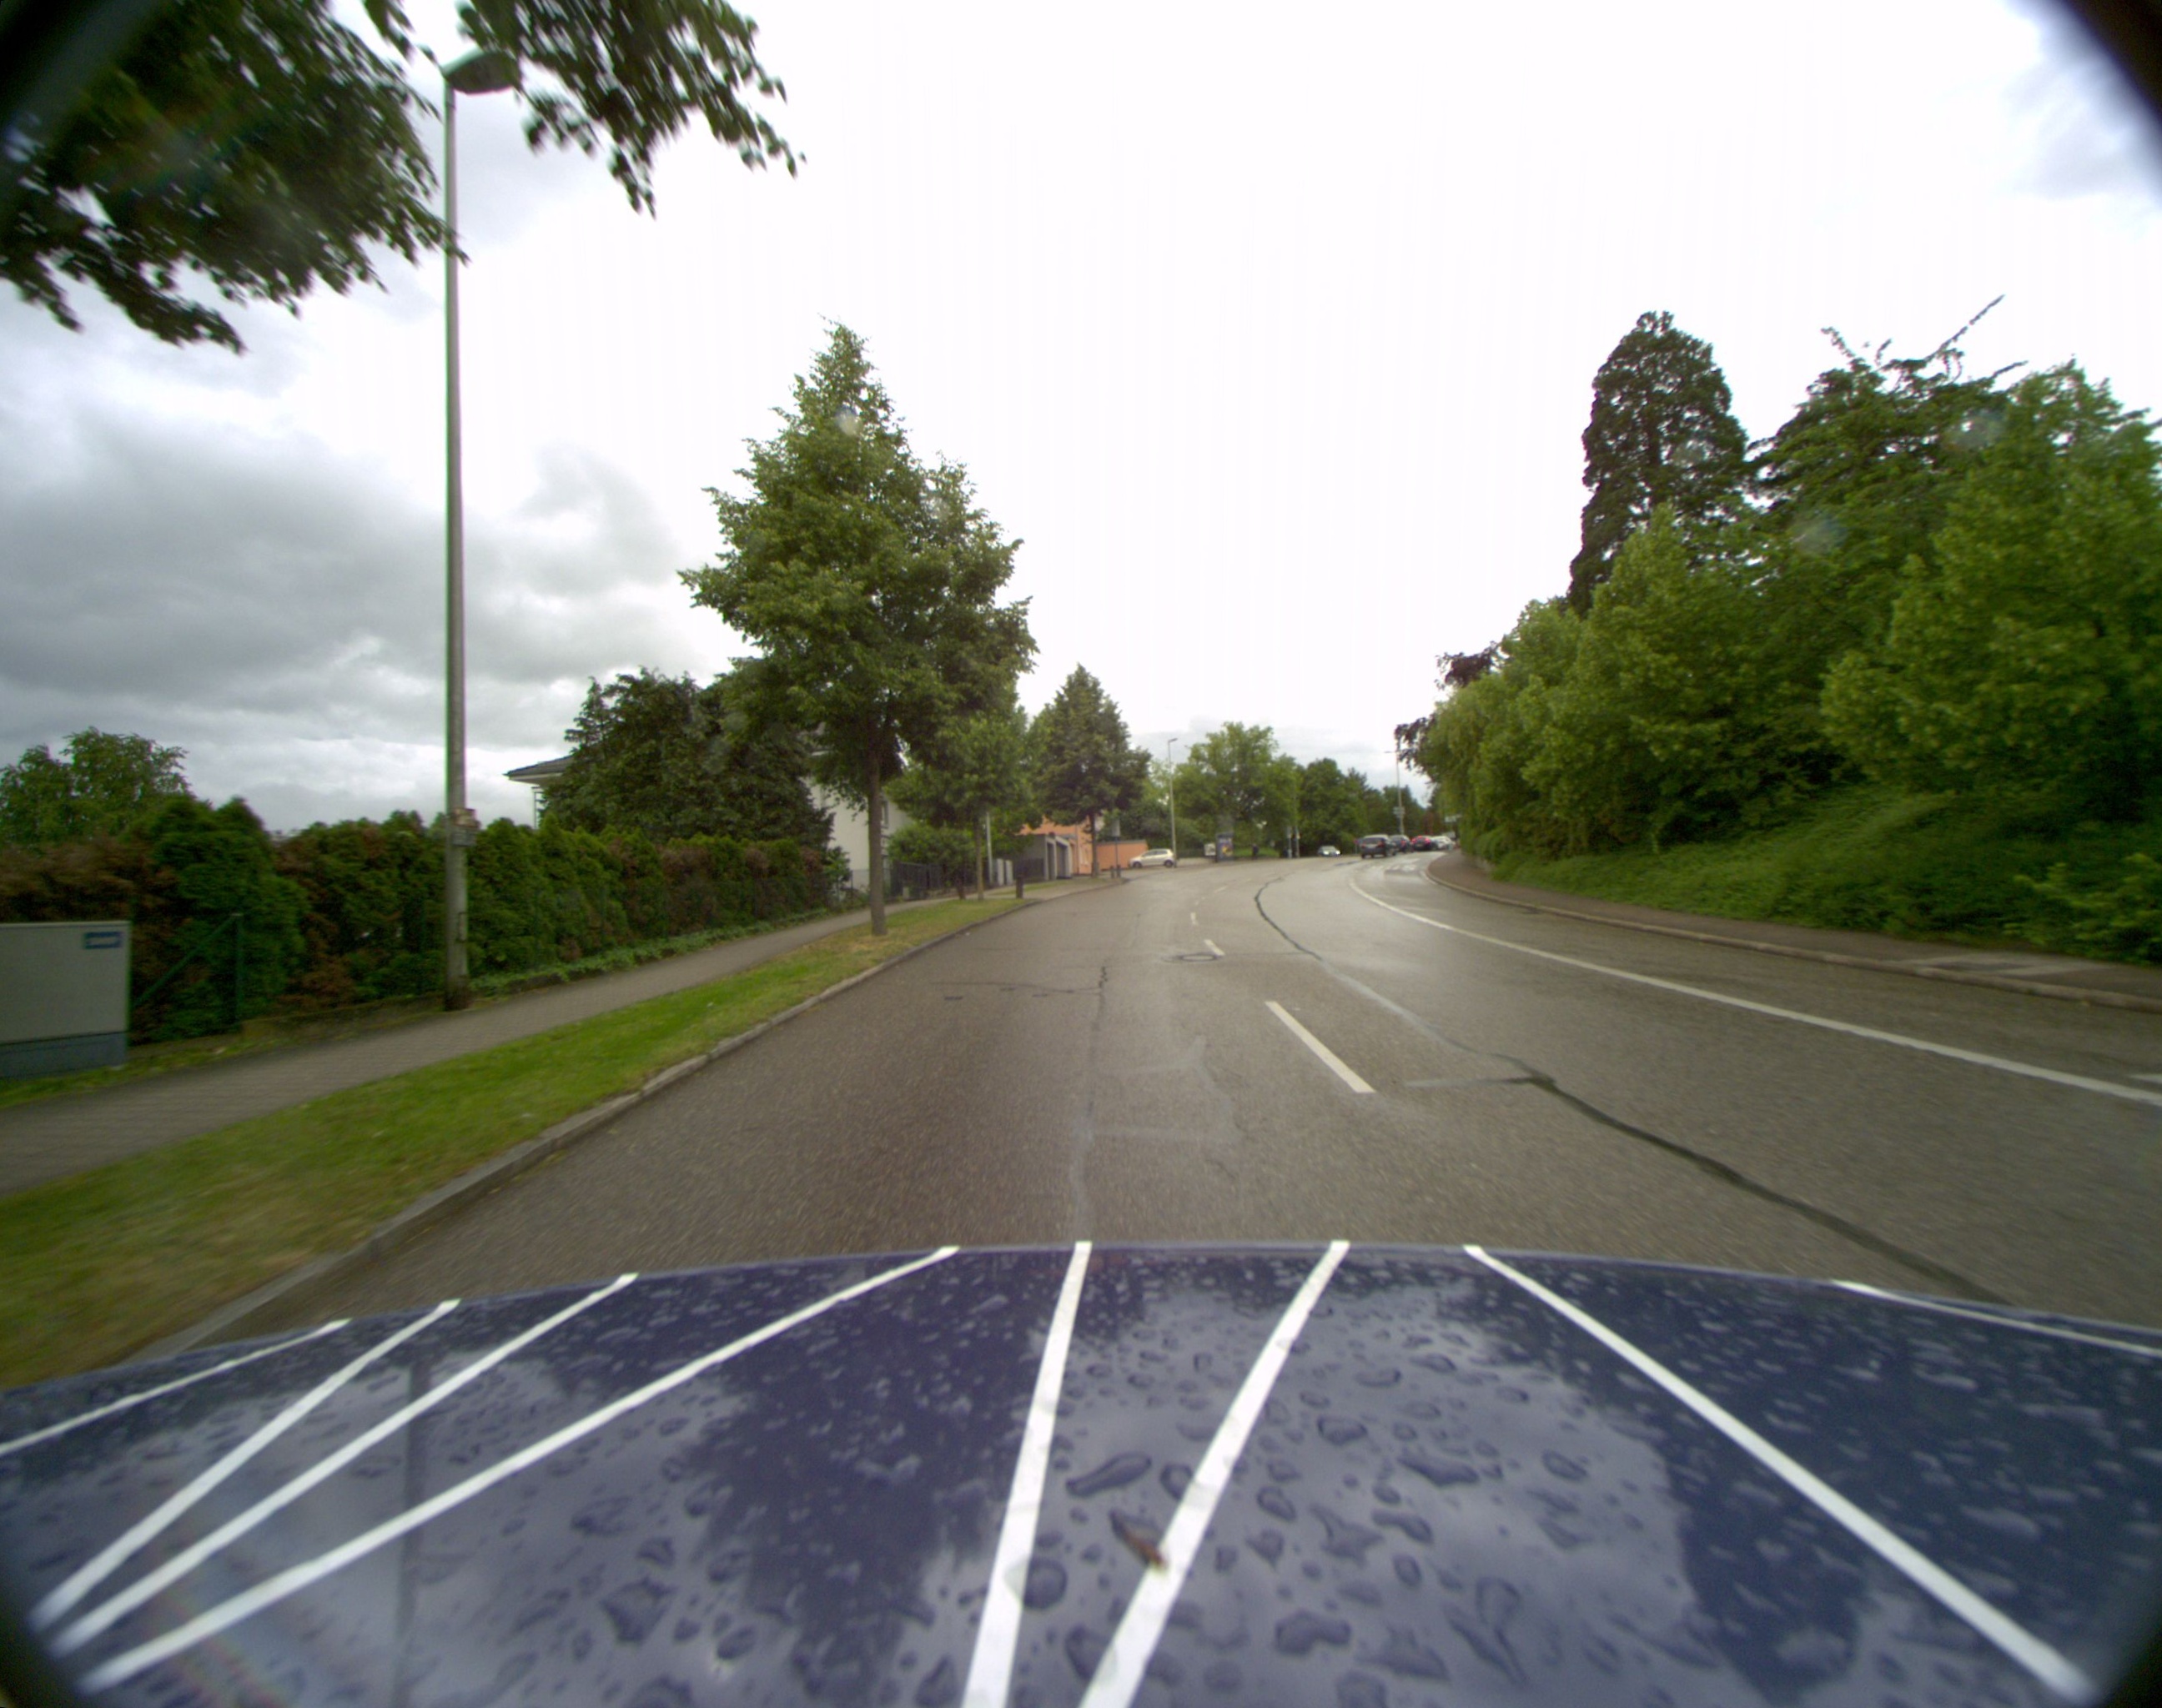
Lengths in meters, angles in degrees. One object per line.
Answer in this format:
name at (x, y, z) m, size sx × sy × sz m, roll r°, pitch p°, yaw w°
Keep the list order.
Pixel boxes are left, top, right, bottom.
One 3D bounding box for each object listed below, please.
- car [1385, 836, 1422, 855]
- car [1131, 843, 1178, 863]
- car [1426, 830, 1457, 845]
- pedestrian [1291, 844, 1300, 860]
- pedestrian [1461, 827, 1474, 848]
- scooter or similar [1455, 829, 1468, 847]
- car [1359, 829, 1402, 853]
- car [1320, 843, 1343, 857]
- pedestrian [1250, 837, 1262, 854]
car at (26.685, -0.722, 62.786) m, size 1.722 × 1.455 × 4.386 m, roll -3°, pitch -1°, yaw 37°
car at (6.237, -0.056, 64.141) m, size 3.865 × 1.556 × 1.728 m, roll -1°, pitch 0°, yaw 9°
car at (36.125, -1.656, 76.128) m, size 1.829 × 1.393 × 4.830 m, roll -3°, pitch 0°, yaw 37°
pedestrian at (23.338, -0.220, 82.625) m, size 0.724 × 1.722 × 0.821 m, roll -3°, pitch 0°, yaw 30°
pedestrian at (33.855, -1.450, 66.536) m, size 0.827 × 1.796 × 0.703 m, roll -2°, pitch 0°, yaw -38°
scooter or similar at (33.525, -1.429, 66.934) m, size 1.320 × 1.507 × 0.509 m, roll -2°, pitch 0°, yaw -38°
car at (22.196, -0.979, 56.280) m, size 1.811 × 1.568 × 4.694 m, roll -3°, pitch 1°, yaw 35°
car at (29.505, -0.459, 89.510) m, size 1.861 × 1.406 × 4.390 m, roll -3°, pitch -2°, yaw 9°
pedestrian at (17.465, -0.807, 75.748) m, size 0.926 × 1.645 × 1.099 m, roll -3°, pitch 0°, yaw 19°
